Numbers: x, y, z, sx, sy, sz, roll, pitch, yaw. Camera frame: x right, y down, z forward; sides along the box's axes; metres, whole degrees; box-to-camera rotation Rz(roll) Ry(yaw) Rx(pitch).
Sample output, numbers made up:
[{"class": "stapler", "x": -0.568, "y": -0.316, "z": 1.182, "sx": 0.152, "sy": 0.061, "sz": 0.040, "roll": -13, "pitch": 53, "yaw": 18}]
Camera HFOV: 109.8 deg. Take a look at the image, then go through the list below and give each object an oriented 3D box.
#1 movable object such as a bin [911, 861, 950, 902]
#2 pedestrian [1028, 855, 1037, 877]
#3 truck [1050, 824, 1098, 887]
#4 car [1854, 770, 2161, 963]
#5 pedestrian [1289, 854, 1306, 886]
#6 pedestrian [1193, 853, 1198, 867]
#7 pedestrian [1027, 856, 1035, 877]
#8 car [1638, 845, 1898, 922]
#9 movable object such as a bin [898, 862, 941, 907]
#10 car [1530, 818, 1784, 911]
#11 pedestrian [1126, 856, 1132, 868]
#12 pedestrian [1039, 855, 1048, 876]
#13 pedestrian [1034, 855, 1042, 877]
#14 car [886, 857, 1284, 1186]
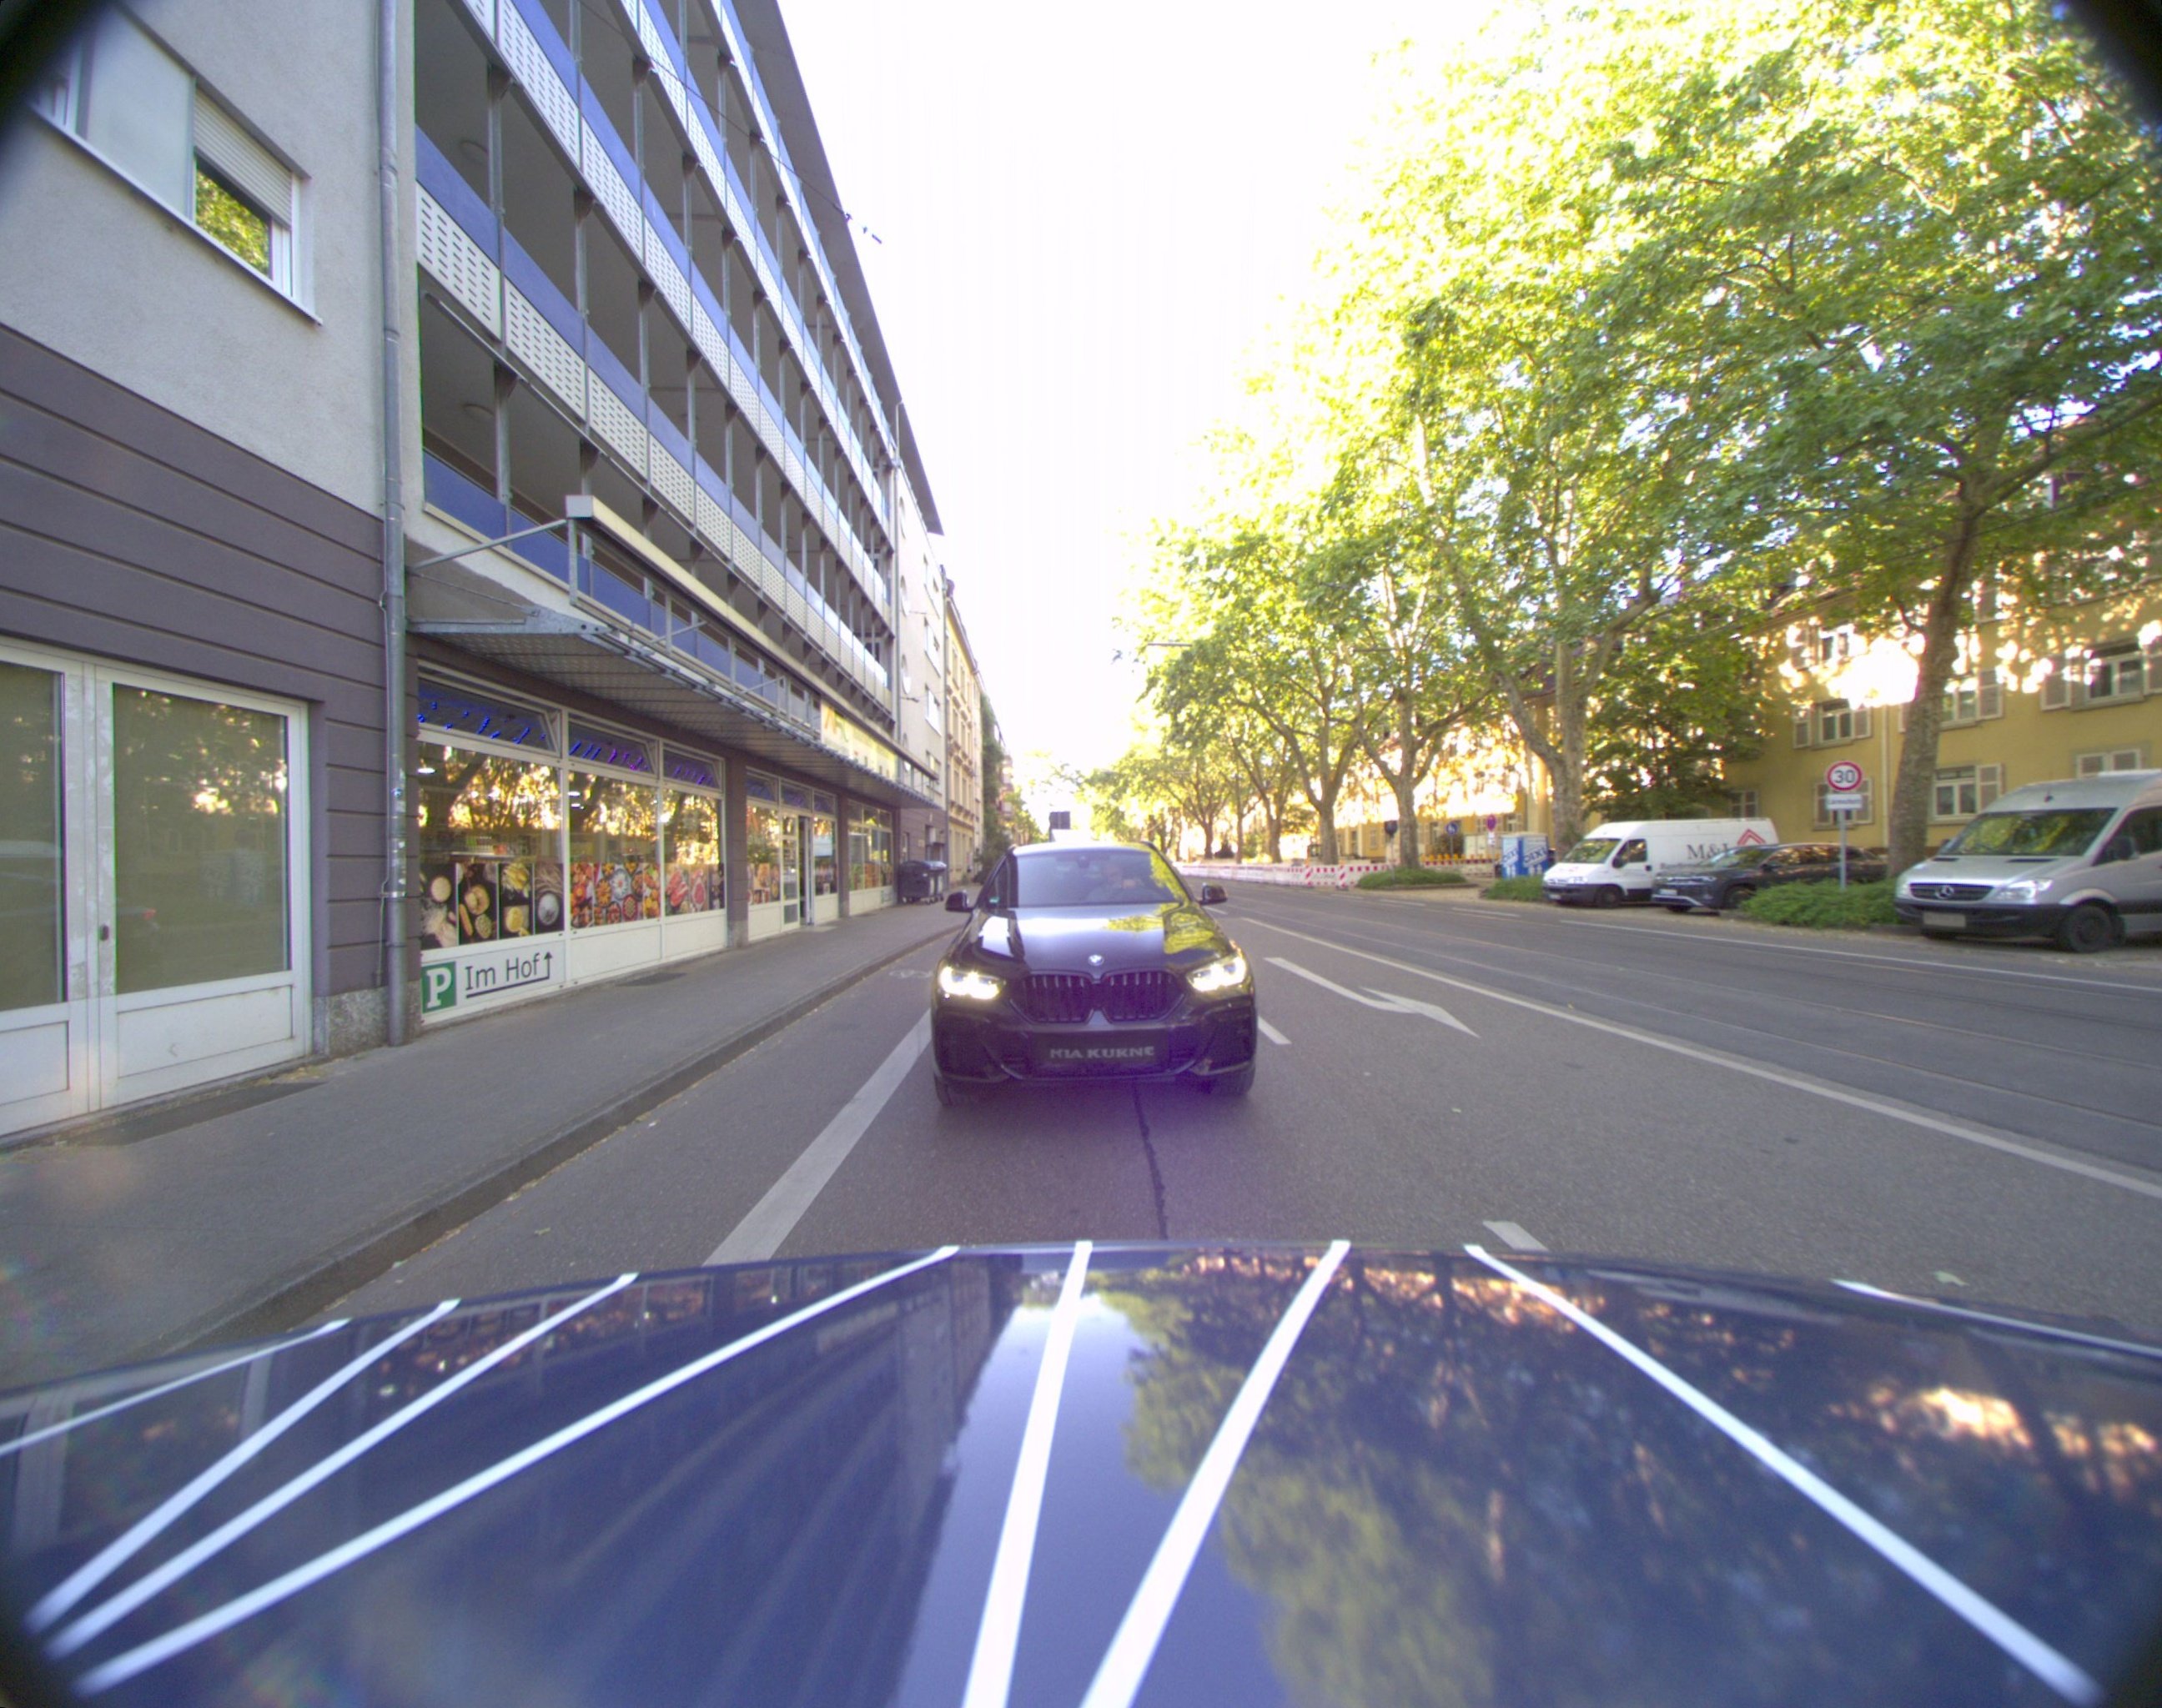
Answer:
[{"class": "movable object such as a bin", "x": -5.276, "y": 0.952, "z": 26.685, "sx": 1.158, "sy": 1.418, "sz": 0.939, "roll": -1, "pitch": 0, "yaw": 1}, {"class": "pedestrian", "x": -4.409, "y": 1.073, "z": 68.745, "sx": 0.733, "sy": 1.875, "sz": 0.664, "roll": -2, "pitch": 1, "yaw": -1}, {"class": "truck", "x": -0.307, "y": 0.121, "z": 42.168, "sx": 2.394, "sy": 3.170, "sz": 6.587, "roll": -1, "pitch": 0, "yaw": 1}, {"class": "car", "x": 15.991, "y": 0.127, "z": 11.858, "sx": 5.666, "sy": 2.666, "sz": 2.223, "roll": -2, "pitch": 0, "yaw": -2}, {"class": "pedestrian", "x": 12.002, "y": 0.901, "z": 42.149, "sx": 0.652, "sy": 1.735, "sz": 0.582, "roll": -2, "pitch": 1, "yaw": -9}, {"class": "pedestrian", "x": 16.491, "y": 0.872, "z": 109.567, "sx": 0.732, "sy": 1.875, "sz": 0.665, "roll": -2, "pitch": 1, "yaw": 8}, {"class": "pedestrian", "x": -4.456, "y": 1.093, "z": 67.140, "sx": 0.600, "sy": 1.875, "sz": 0.581, "roll": -2, "pitch": 1, "yaw": -1}, {"class": "car", "x": 16.085, "y": 0.656, "z": 17.940, "sx": 4.627, "sy": 1.642, "sz": 1.774, "roll": -1, "pitch": 0, "yaw": -2}, {"class": "movable object such as a bin", "x": -5.223, "y": 0.981, "z": 24.647, "sx": 1.158, "sy": 1.418, "sz": 0.939, "roll": -1, "pitch": 0, "yaw": 1}, {"class": "car", "x": 15.851, "y": 0.288, "z": 21.147, "sx": 5.404, "sy": 2.362, "sz": 2.223, "roll": -1, "pitch": 0, "yaw": 0}, {"class": "pedestrian", "x": 7.704, "y": 1.241, "z": 121.715, "sx": 0.733, "sy": 1.875, "sz": 0.741, "roll": -2, "pitch": 1, "yaw": -1}, {"class": "pedestrian", "x": -3.373, "y": 1.039, "z": 68.174, "sx": 0.733, "sy": 1.875, "sz": 0.664, "roll": -2, "pitch": 1, "yaw": -1}, {"class": "pedestrian", "x": -3.812, "y": 1.069, "z": 67.063, "sx": 0.600, "sy": 1.875, "sz": 0.581, "roll": -2, "pitch": 1, "yaw": -1}, {"class": "car", "x": 0.049, "y": 0.867, "z": 6.018, "sx": 1.998, "sy": 1.643, "sz": 4.295, "roll": -1, "pitch": 0, "yaw": 1}]
